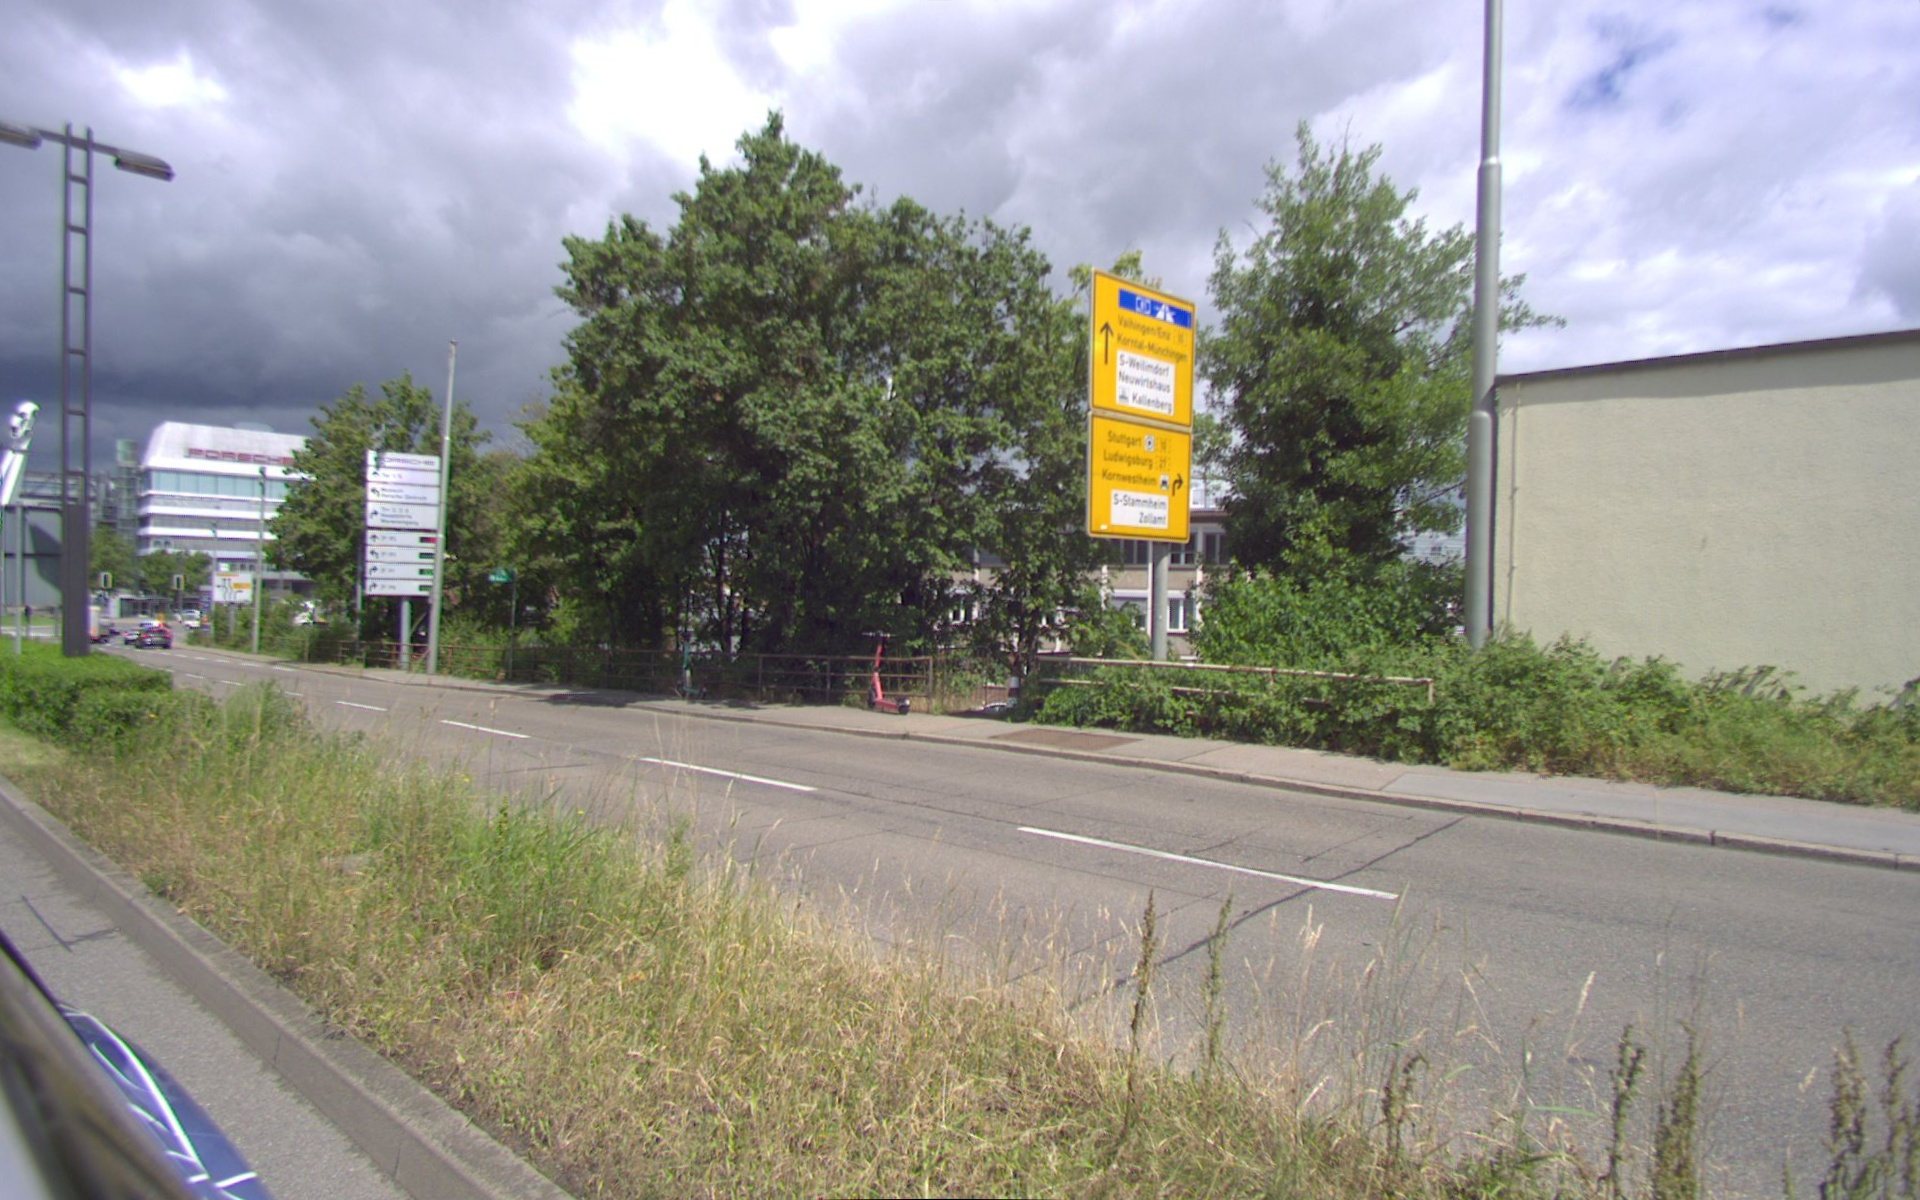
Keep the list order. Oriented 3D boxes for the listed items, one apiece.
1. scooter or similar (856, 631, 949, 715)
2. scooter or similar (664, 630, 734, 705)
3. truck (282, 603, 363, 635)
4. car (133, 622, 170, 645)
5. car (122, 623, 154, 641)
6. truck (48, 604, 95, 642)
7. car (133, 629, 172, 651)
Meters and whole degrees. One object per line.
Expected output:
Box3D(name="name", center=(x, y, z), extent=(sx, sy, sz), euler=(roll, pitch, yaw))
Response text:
Box3D(name="scooter or similar", center=(-0.907, 1.097, 15.631), extent=(0.485, 1.225, 1.644), euler=(2, -2, -44))
Box3D(name="scooter or similar", center=(-4.845, 1.214, 18.733), extent=(0.486, 1.314, 1.644), euler=(-1, 0, -44))
Box3D(name="truck", center=(-79.329, 2.354, 125.953), extent=(8.874, 3.595, 2.358), euler=(-2, -1, 5))
Box3D(name="car", center=(-72.260, 2.982, 90.492), extent=(1.966, 1.973, 4.641), euler=(0, -1, -32))
Box3D(name="car", center=(-68.194, 2.632, 83.998), extent=(1.772, 1.433, 4.503), euler=(2, -2, -36))
Box3D(name="truck", center=(-74.303, 1.981, 84.642), extent=(2.820, 2.879, 9.388), euler=(1, -3, -41))
Box3D(name="car", center=(-56.899, 2.780, 71.269), extent=(1.817, 1.519, 4.566), euler=(2, -2, -42))
